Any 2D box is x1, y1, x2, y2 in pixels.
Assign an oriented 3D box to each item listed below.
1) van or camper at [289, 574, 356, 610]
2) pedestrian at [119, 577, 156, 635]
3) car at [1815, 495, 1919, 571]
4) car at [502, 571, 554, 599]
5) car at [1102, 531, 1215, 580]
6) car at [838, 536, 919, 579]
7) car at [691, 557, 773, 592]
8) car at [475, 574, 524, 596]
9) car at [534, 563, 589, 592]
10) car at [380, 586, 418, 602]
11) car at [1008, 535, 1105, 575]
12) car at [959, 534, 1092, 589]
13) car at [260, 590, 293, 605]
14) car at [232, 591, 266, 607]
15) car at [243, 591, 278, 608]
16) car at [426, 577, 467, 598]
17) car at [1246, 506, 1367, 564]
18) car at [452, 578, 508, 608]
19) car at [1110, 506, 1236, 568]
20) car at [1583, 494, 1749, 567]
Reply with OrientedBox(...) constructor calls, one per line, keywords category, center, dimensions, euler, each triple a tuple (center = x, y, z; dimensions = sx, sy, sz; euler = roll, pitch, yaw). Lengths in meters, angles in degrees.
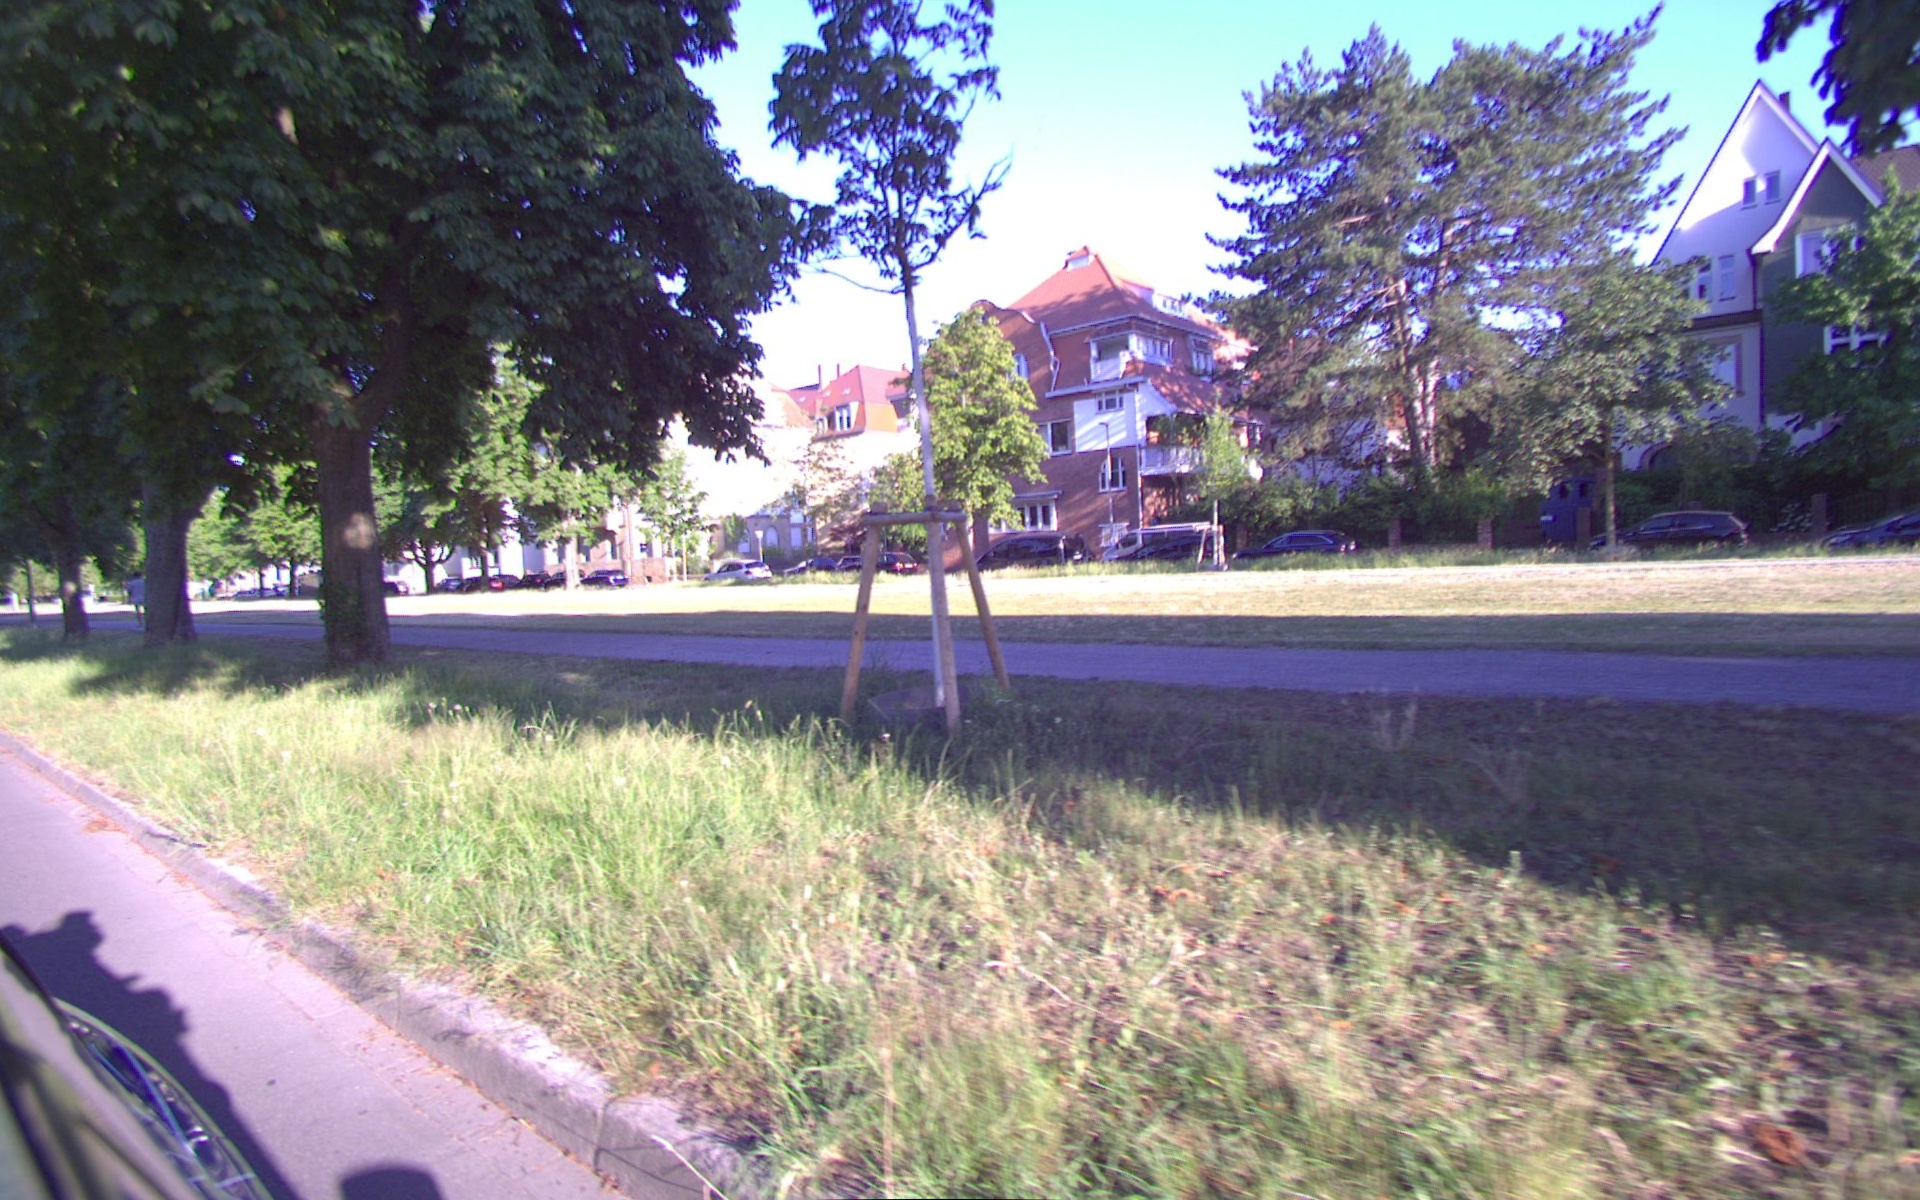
OrientedBox(category="van or camper", center=(-62.026, -0.777, 98.387), dimensions=(7.893, 3.133, 3.221), euler=(0, 4, 42))
OrientedBox(category="pedestrian", center=(-26.039, 0.174, 32.044), dimensions=(0.716, 1.770, 0.994), euler=(-6, 4, -42))
OrientedBox(category="car", center=(22.877, -1.626, 23.904), dimensions=(4.001, 1.695, 1.972), euler=(1, 5, 43))
OrientedBox(category="car", center=(-34.841, -1.188, 81.586), dimensions=(4.425, 2.028, 1.974), euler=(0, 4, 40))
OrientedBox(category="car", center=(8.519, -1.893, 43.602), dimensions=(4.406, 1.851, 1.798), euler=(-1, 4, 42))
OrientedBox(category="car", center=(-4.446, -2.280, 54.624), dimensions=(4.367, 2.028, 1.739), euler=(-1, 4, 42))
OrientedBox(category="car", center=(-12.309, -1.365, 54.460), dimensions=(4.648, 1.651, 1.801), euler=(0, 4, 41))
OrientedBox(category="car", center=(-39.036, -1.288, 85.809), dimensions=(4.425, 1.664, 1.974), euler=(0, 4, 40))
OrientedBox(category="car", center=(-30.882, -1.722, 78.352), dimensions=(4.875, 2.028, 1.973), euler=(0, 4, 43))
OrientedBox(category="car", center=(-56.458, -0.612, 101.810), dimensions=(3.998, 1.474, 1.974), euler=(-1, 4, 41))
OrientedBox(category="car", center=(4.515, -2.119, 47.853), dimensions=(4.303, 1.635, 1.739), euler=(-1, 4, 42))
OrientedBox(category="car", center=(2.605, -1.551, 41.347), dimensions=(5.244, 1.954, 1.973), euler=(-1, 4, 42))
OrientedBox(category="car", center=(-84.906, -0.314, 125.756), dimensions=(4.870, 1.702, 1.975), euler=(0, 4, 39))
OrientedBox(category="car", center=(-81.175, -0.137, 115.477), dimensions=(4.874, 1.702, 1.973), euler=(0, 4, 42))
OrientedBox(category="car", center=(-77.235, -0.079, 111.709), dimensions=(4.874, 1.702, 1.973), euler=(0, 4, 42))
OrientedBox(category="car", center=(-46.848, -1.112, 92.330), dimensions=(4.000, 1.747, 1.973), euler=(0, 4, 43))
OrientedBox(category="car", center=(13.488, -2.508, 39.511), dimensions=(4.000, 2.028, 1.973), euler=(0, 5, 43))
OrientedBox(category="car", center=(-35.522, -0.501, 74.844), dimensions=(4.875, 2.028, 1.973), euler=(0, 4, 43))
OrientedBox(category="car", center=(7.792, -2.284, 37.137), dimensions=(3.998, 2.028, 1.973), euler=(0, 5, 41))
OrientedBox(category="car", center=(22.268, -2.169, 32.002), dimensions=(1.971, 2.028, 4.002), euler=(-7, 5, -45))
